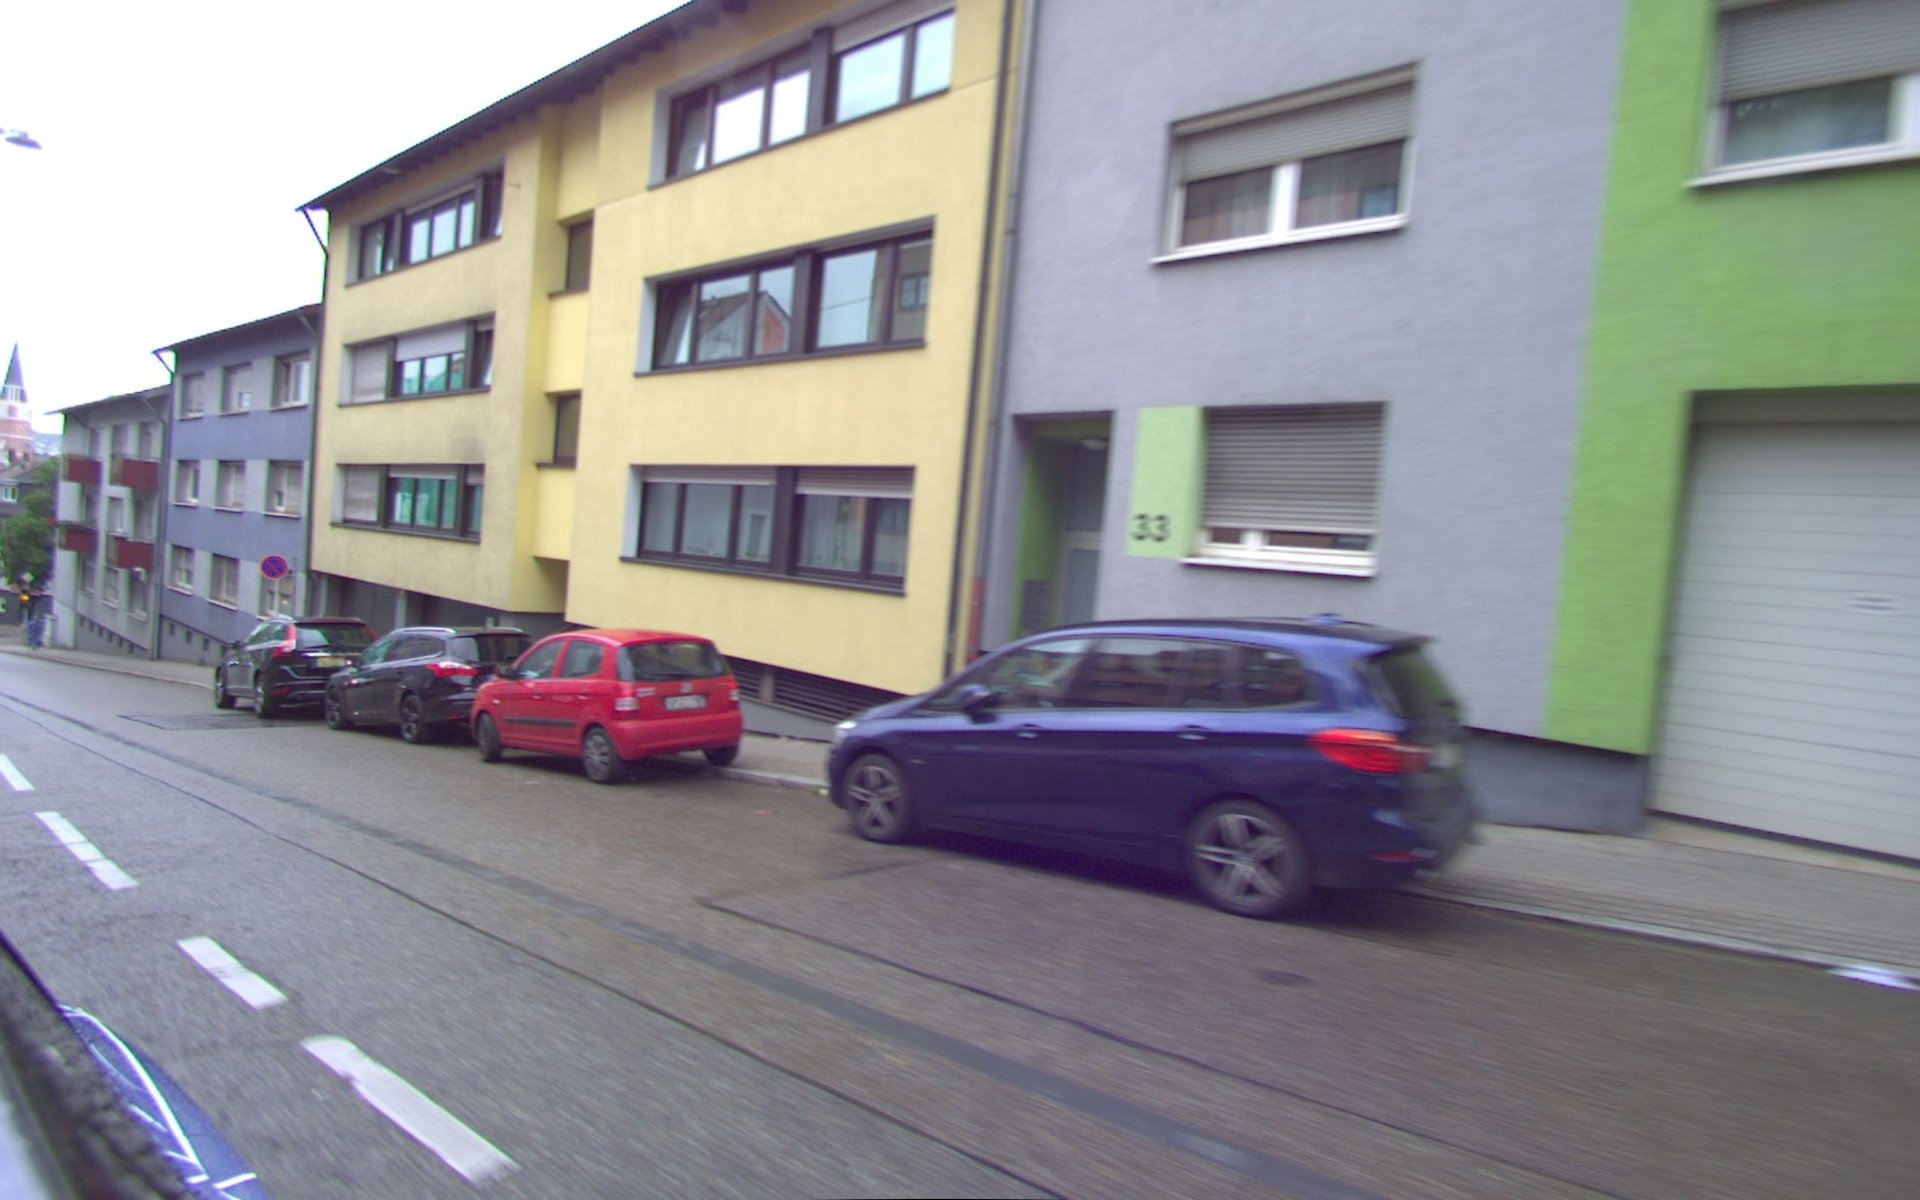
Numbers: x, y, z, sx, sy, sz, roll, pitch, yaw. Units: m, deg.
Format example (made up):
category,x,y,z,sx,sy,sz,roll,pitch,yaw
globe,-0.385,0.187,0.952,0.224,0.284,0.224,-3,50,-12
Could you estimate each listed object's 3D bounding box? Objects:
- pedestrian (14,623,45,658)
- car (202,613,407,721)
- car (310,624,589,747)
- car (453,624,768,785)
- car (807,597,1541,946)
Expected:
category,x,y,z,sx,sy,sz,roll,pitch,yaw
pedestrian,-42.213,1.813,45.921,1.086,1.553,0.861,-1,-1,38
car,-11.607,1.093,17.801,4.441,1.662,1.972,-1,-2,43
car,-7.381,1.102,14.475,4.344,1.483,1.974,-1,-2,39
car,-3.917,1.017,11.156,3.487,1.483,1.711,-1,-2,39
car,1.210,0.844,6.852,4.467,1.597,1.974,-1,-2,39
